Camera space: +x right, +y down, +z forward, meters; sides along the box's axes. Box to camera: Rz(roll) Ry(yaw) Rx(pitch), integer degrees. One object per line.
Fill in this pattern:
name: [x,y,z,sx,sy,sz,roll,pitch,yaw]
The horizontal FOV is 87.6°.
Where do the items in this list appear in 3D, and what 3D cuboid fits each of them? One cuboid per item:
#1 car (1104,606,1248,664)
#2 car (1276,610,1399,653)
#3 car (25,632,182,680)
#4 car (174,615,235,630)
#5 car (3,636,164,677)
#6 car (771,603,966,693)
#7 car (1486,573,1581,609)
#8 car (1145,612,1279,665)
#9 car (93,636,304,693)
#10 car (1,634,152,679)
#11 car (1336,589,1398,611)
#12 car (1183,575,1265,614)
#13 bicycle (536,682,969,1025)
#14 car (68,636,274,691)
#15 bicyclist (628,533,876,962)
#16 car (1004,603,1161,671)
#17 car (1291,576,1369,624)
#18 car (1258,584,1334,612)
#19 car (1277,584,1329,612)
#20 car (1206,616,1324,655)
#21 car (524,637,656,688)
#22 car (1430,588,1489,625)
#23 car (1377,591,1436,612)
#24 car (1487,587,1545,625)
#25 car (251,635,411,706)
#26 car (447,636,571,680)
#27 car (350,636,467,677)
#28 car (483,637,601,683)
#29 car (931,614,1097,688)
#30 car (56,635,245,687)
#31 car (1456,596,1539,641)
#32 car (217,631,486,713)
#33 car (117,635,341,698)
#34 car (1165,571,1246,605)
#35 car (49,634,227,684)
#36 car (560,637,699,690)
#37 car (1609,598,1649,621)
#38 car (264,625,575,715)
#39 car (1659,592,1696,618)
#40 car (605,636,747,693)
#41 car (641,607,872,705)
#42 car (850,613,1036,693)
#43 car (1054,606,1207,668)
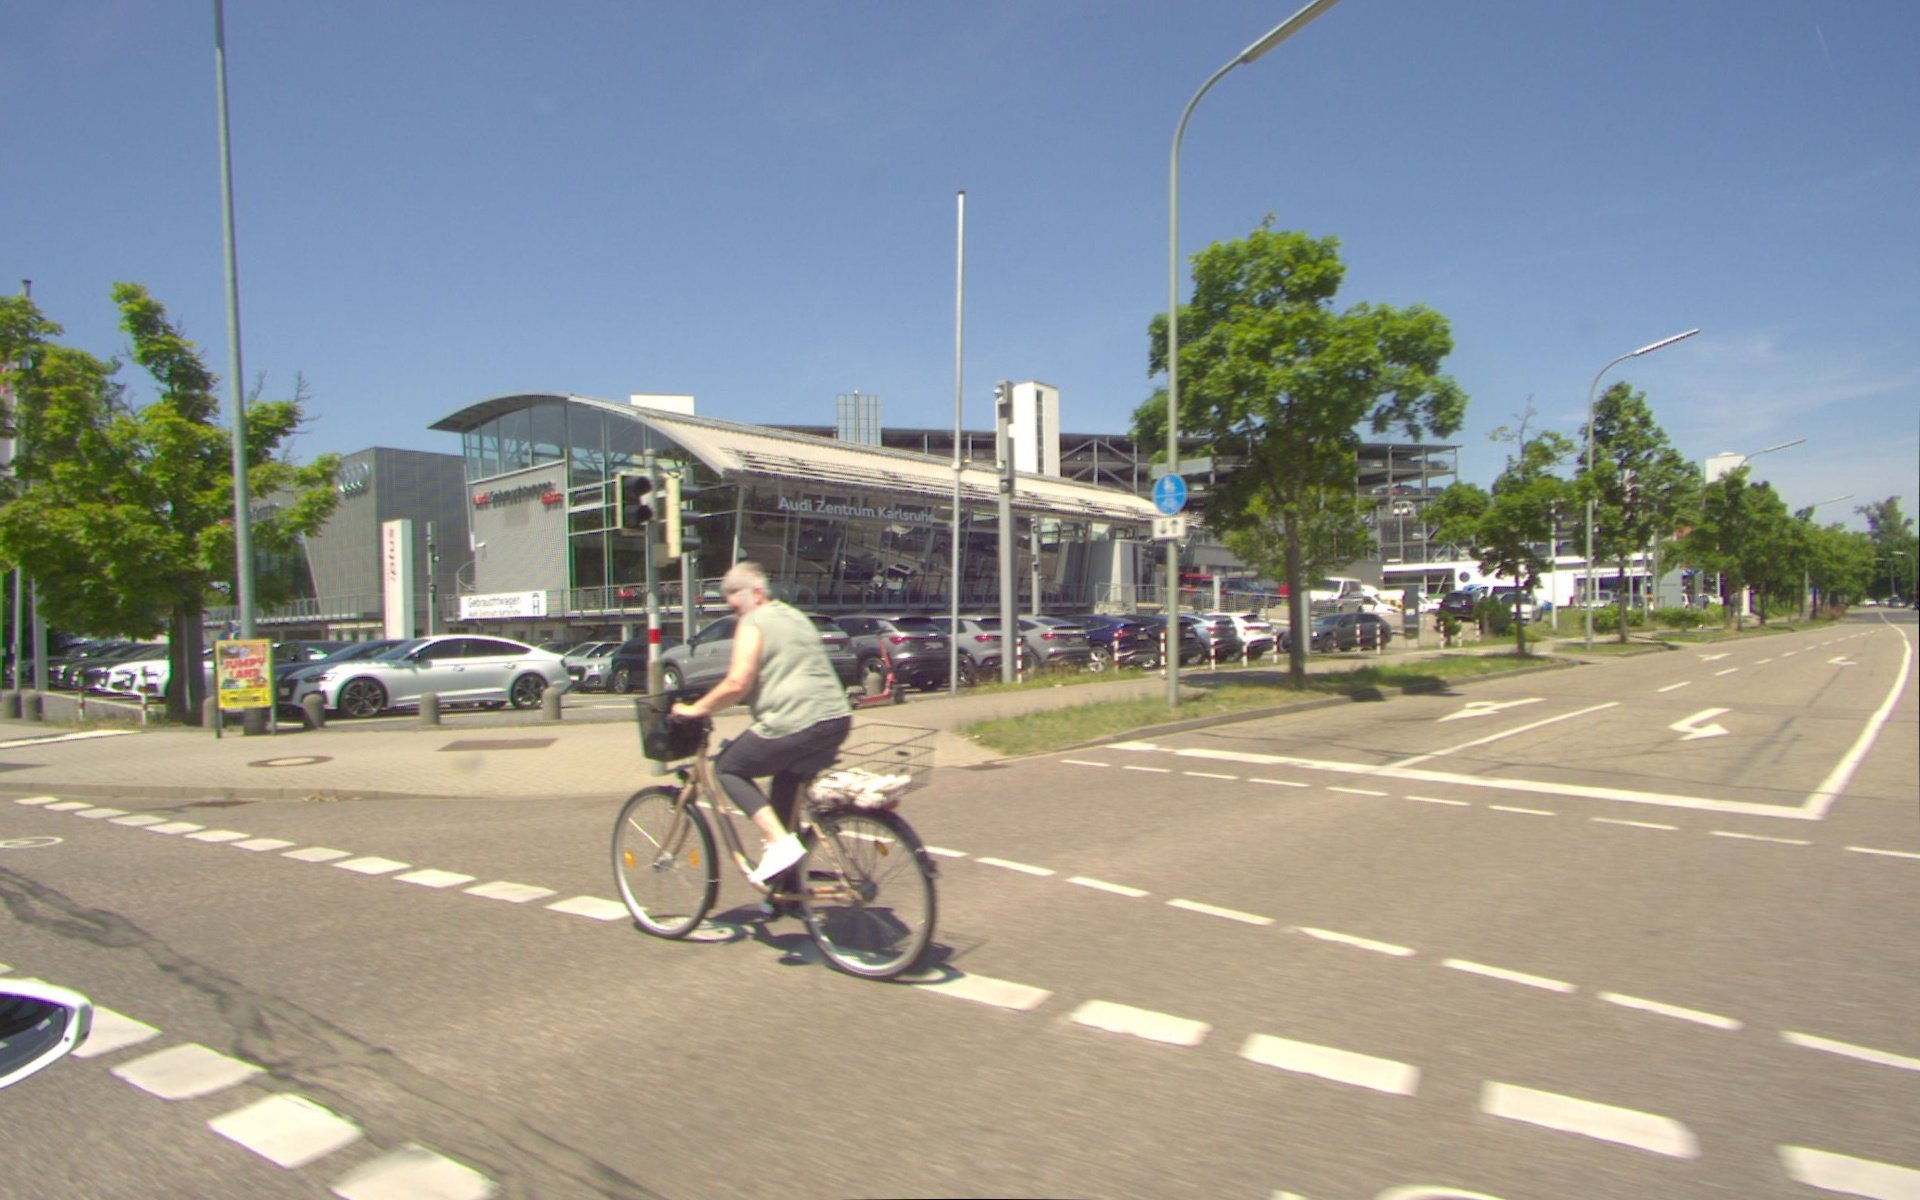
car: [6.626,1.057,30.900,3.946,1.676,1.839,-1,-1,36]
car: [14.601,1.173,38.715,4.544,1.491,1.843,-1,0,-26]
car: [-28.311,1.856,33.170,1.812,1.471,3.668,-2,-4,39]
car: [-65.568,1.939,86.906,1.695,1.226,3.929,-2,-2,35]
car: [-32.170,2.071,36.850,1.795,1.419,4.216,-1,-3,39]
car: [-1.952,1.034,20.563,3.957,1.674,1.835,-4,-5,43]
car: [32.977,-0.460,57.607,4.532,1.911,1.900,-1,-1,38]
car: [8.294,1.290,33.067,3.946,1.675,1.840,-2,-3,36]
car: [-19.812,1.671,26.187,1.847,1.365,4.084,-2,-4,39]
car: [-30.521,1.955,34.650,1.812,1.471,3.668,-2,-4,39]
car: [32.703,0.040,80.471,4.304,1.674,1.900,-1,-1,39]
car: [12.616,-0.242,47.694,1.893,1.730,4.549,-1,-1,42]
bicycle: [-0.930,0.966,4.309,1.866,1.147,0.627,-1,-1,29]
car: [-21.860,1.751,27.873,1.847,1.407,4.210,-2,-4,39]
bicyclist: [-0.875,0.575,4.276,0.813,1.626,0.628,-1,-2,27]
car: [3.212,0.984,26.598,3.860,1.675,1.624,-2,-2,36]
car: [16.673,0.018,44.944,1.889,1.992,5.217,-1,-1,37]
car: [23.047,-0.111,68.763,4.536,1.820,1.898,-2,-1,41]
car: [22.304,-0.101,65.064,1.863,1.728,3.968,-1,-2,41]
car: [12.469,1.423,40.921,4.517,1.491,1.906,0,-1,-26]
car: [-12.658,2.144,34.452,1.637,1.642,3.970,-2,-4,39]
car: [25.400,0.372,50.834,1.975,1.727,3.974,-1,-3,37]
car: [38.794,0.165,86.980,4.308,1.674,1.898,-2,-1,41]
car: [27.552,0.354,49.573,1.975,1.727,3.974,-1,-3,37]
car: [-14.338,1.550,22.713,4.611,1.437,1.854,-2,-4,42]
car: [-17.056,2.206,38.000,1.614,1.592,3.968,-2,-4,39]
car: [-23.391,2.399,42.566,1.829,1.675,3.970,-2,-4,39]
car: [-15.160,2.170,36.451,1.623,1.600,3.634,-2,-4,39]
car: [1.285,1.191,24.494,3.767,1.637,1.631,0,-1,36]
car: [-23.962,1.801,29.764,1.847,1.422,4.086,-2,-4,39]
car: [21.746,0.718,40.414,1.893,1.716,4.549,-1,-1,42]
car: [-11.663,1.366,19.418,1.847,1.407,4.081,-2,-4,39]
car: [-17.713,1.599,24.422,1.852,1.381,4.081,-2,-4,39]
car: [13.932,-0.652,56.950,4.091,1.744,1.903,-1,-1,33]
car: [-25.923,1.864,31.686,1.847,1.471,4.086,-2,-4,39]
car: [-10.750,2.060,32.790,1.829,1.618,3.970,-2,-4,39]
car: [46.622,0.678,69.761,1.763,1.541,3.657,-1,-1,43]
car: [-9.568,1.228,18.064,1.847,1.407,4.574,-2,-4,40]
car: [58.159,0.382,81.110,1.899,2.040,3.964,-1,-1,43]
car: [-8.392,1.857,29.373,4.665,1.534,1.866,-2,-4,43]
car: [-3.869,1.027,18.635,4.453,1.578,1.859,-3,-1,41]
car: [-0.426,1.202,22.823,3.946,1.675,1.840,-2,-3,36]
car: [4.886,1.040,28.853,3.946,1.676,1.839,-1,-1,36]
